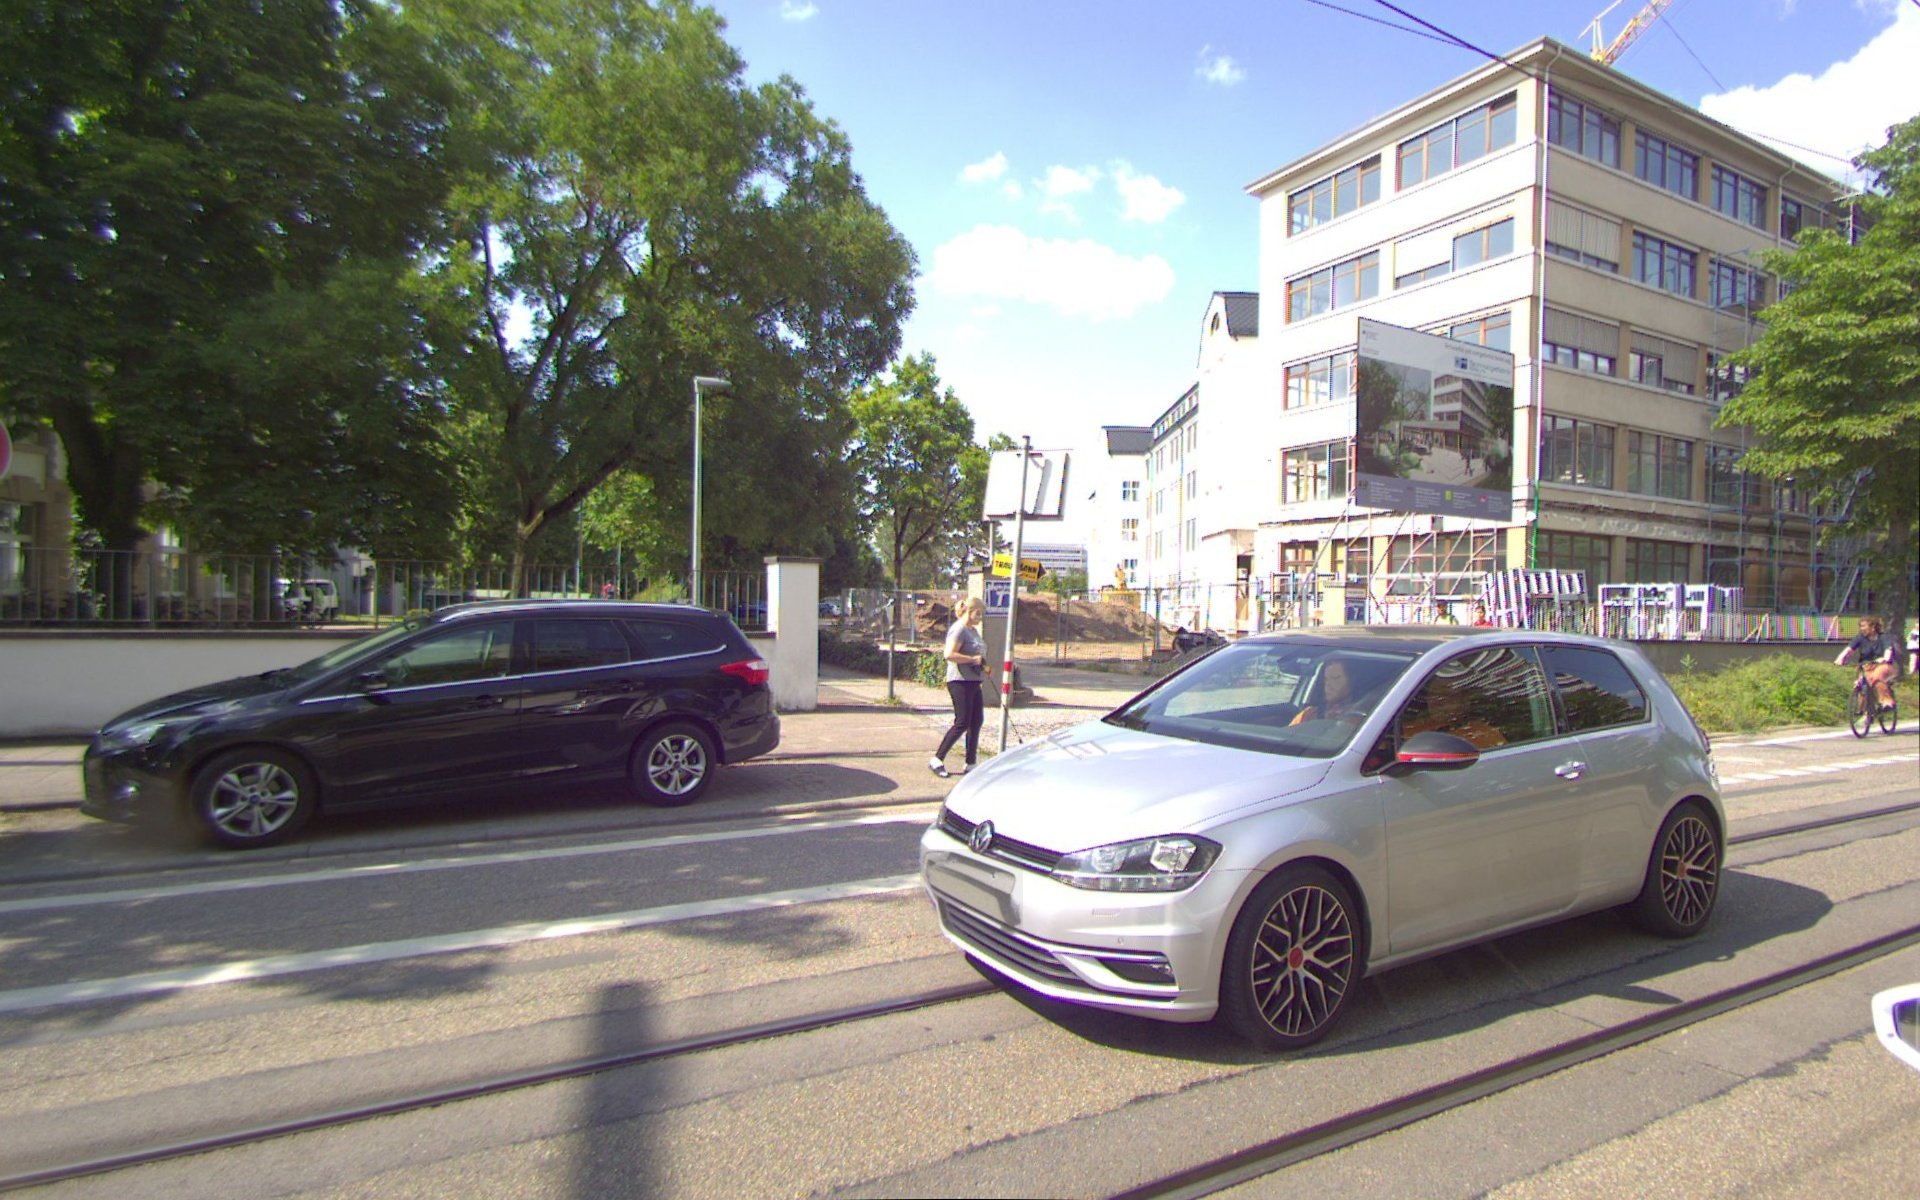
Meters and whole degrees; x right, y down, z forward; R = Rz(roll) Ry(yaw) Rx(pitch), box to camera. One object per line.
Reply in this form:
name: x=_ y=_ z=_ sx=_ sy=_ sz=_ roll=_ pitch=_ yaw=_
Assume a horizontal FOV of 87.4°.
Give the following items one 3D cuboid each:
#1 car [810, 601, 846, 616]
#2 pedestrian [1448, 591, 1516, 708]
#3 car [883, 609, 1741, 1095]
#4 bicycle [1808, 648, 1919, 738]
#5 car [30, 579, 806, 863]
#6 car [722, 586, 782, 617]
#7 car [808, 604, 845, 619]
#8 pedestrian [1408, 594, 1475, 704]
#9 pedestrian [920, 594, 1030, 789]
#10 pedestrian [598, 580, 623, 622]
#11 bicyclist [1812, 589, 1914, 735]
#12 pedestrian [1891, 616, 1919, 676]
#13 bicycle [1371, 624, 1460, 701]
car: x=-14.453 y=0.918 z=109.971 sx=3.594 sy=1.509 sz=1.786 roll=1 pitch=0 yaw=1
pedestrian: x=8.690 y=0.796 z=16.730 sx=0.655 sy=1.857 sz=0.703 roll=-1 pitch=4 yaw=-34
car: x=1.738 y=0.807 z=4.712 sx=3.807 sy=1.435 sz=1.765 roll=2 pitch=-2 yaw=-30
bicycle: x=13.232 y=1.326 z=14.683 sx=1.921 sy=1.181 sz=0.641 roll=-1 pitch=-2 yaw=-30
car: x=-3.602 y=0.701 z=7.444 sx=4.542 sy=1.536 sz=1.739 roll=2 pitch=1 yaw=-32
car: x=-14.590 y=0.109 z=70.636 sx=3.925 sy=2.040 sz=1.998 roll=1 pitch=0 yaw=-6
car: x=-13.592 y=1.174 z=102.582 sx=3.595 sy=1.509 sz=1.785 roll=1 pitch=0 yaw=-3
pedestrian: x=8.309 y=0.835 z=17.344 sx=0.655 sy=1.817 sz=0.703 roll=1 pitch=3 yaw=-34
pedestrian: x=0.146 y=0.790 z=9.104 sx=0.714 sy=1.659 sz=0.691 roll=2 pitch=1 yaw=27
pedestrian: x=-14.069 y=0.033 z=40.433 sx=0.751 sy=1.642 sz=0.594 roll=1 pitch=0 yaw=10
bicyclist: x=13.141 y=0.894 z=14.633 sx=0.824 sy=2.040 sz=0.872 roll=2 pitch=-3 yaw=-30
pedestrian: x=27.235 y=1.312 z=28.671 sx=0.587 sy=1.642 sz=0.761 roll=1 pitch=1 yaw=-29
bicycle: x=8.079 y=1.091 z=17.801 sx=1.716 sy=1.303 sz=0.444 roll=1 pitch=0 yaw=-27
